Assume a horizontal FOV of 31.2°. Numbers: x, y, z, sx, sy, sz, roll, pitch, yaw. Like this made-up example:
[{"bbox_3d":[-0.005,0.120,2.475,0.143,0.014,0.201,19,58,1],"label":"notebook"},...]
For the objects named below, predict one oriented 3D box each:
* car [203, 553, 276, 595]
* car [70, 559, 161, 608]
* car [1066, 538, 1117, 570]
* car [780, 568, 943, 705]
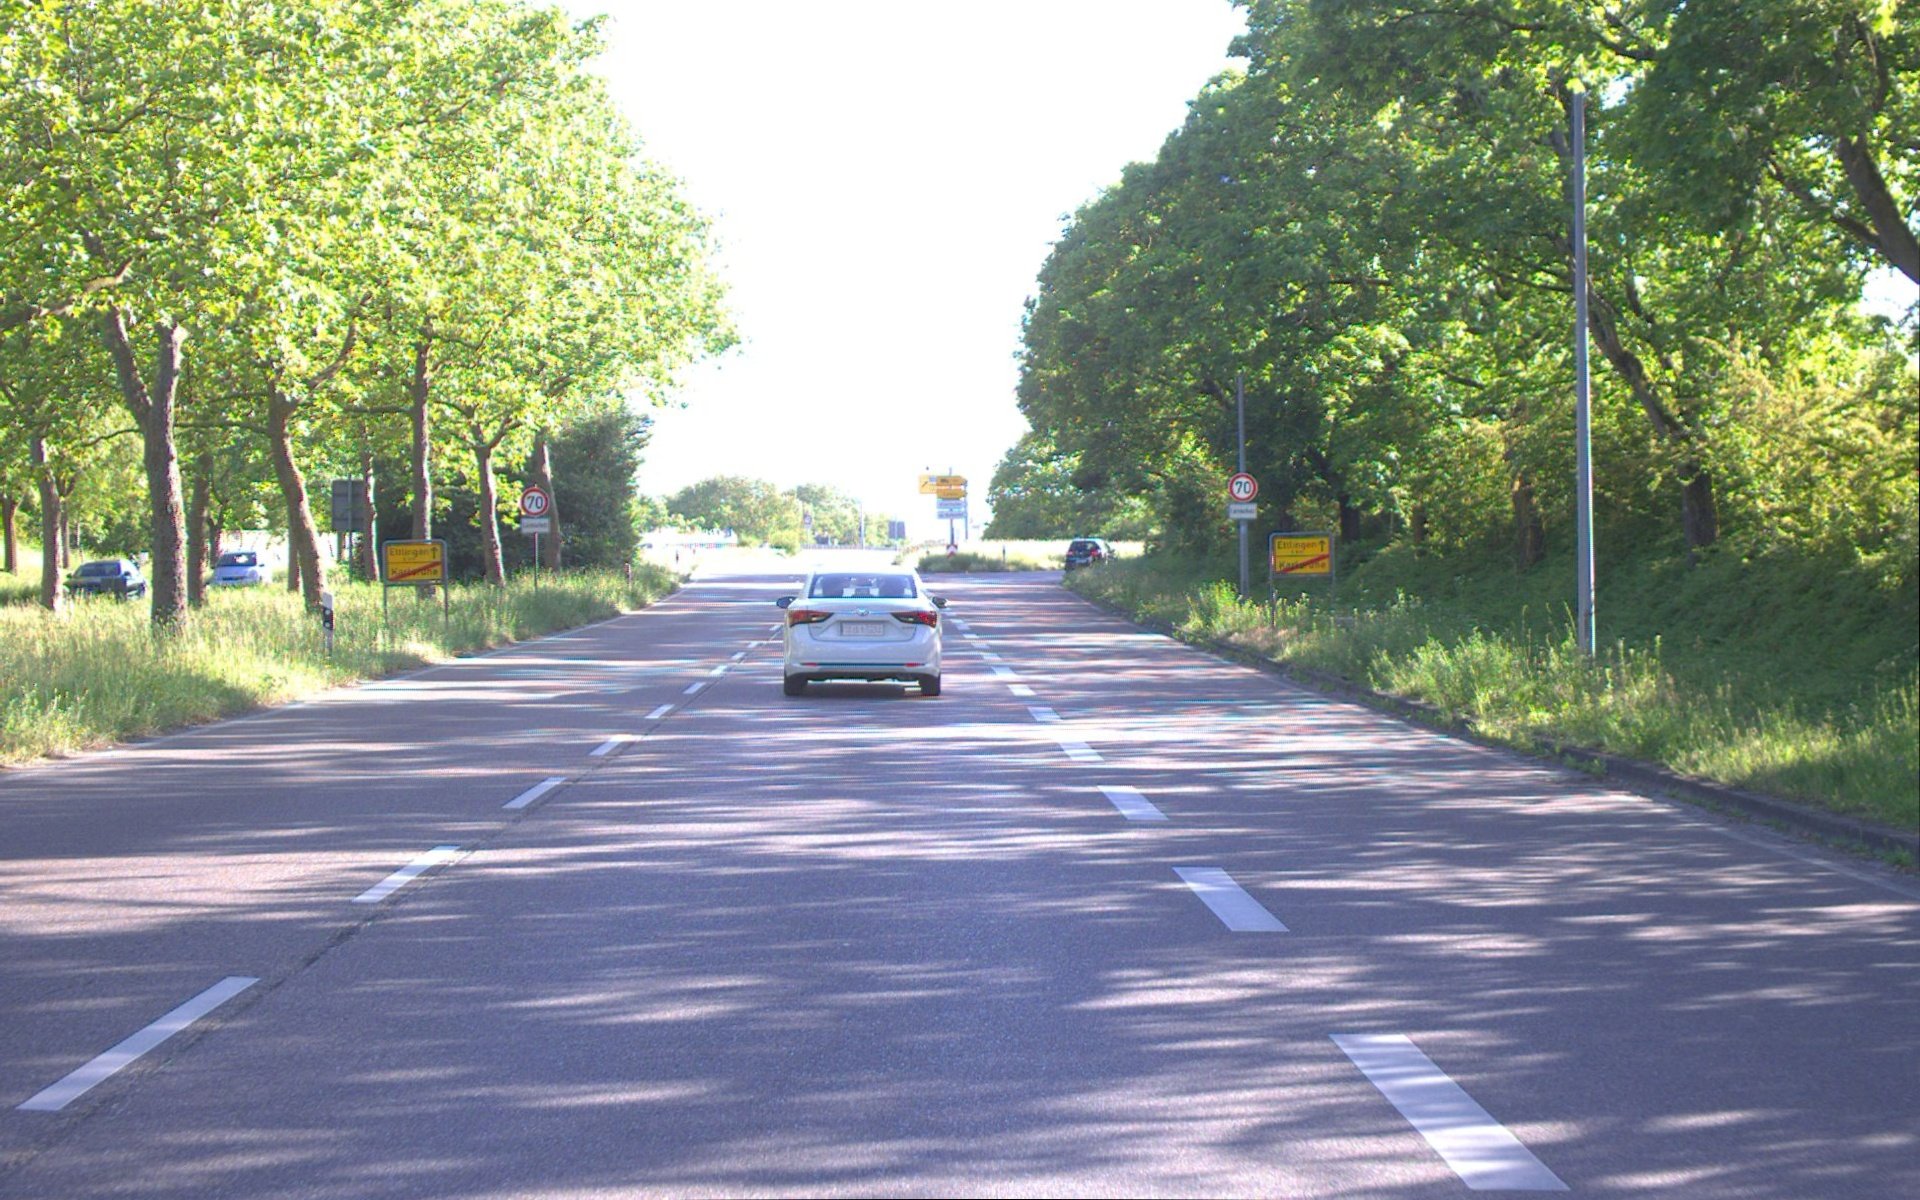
[{"bbox_3d":[-25.870,-0.950,123.619,1.767,1.459,4.366,-1,1,-1],"label":"car"},{"bbox_3d":[-25.974,-0.531,105.850,1.767,1.459,4.366,-1,1,-1],"label":"car"},{"bbox_3d":[6.248,-2.177,162.564,1.768,1.459,4.364,-1,1,11],"label":"car"},{"bbox_3d":[-1.176,0.374,39.739,1.767,1.459,4.367,-1,1,-3],"label":"car"}]
